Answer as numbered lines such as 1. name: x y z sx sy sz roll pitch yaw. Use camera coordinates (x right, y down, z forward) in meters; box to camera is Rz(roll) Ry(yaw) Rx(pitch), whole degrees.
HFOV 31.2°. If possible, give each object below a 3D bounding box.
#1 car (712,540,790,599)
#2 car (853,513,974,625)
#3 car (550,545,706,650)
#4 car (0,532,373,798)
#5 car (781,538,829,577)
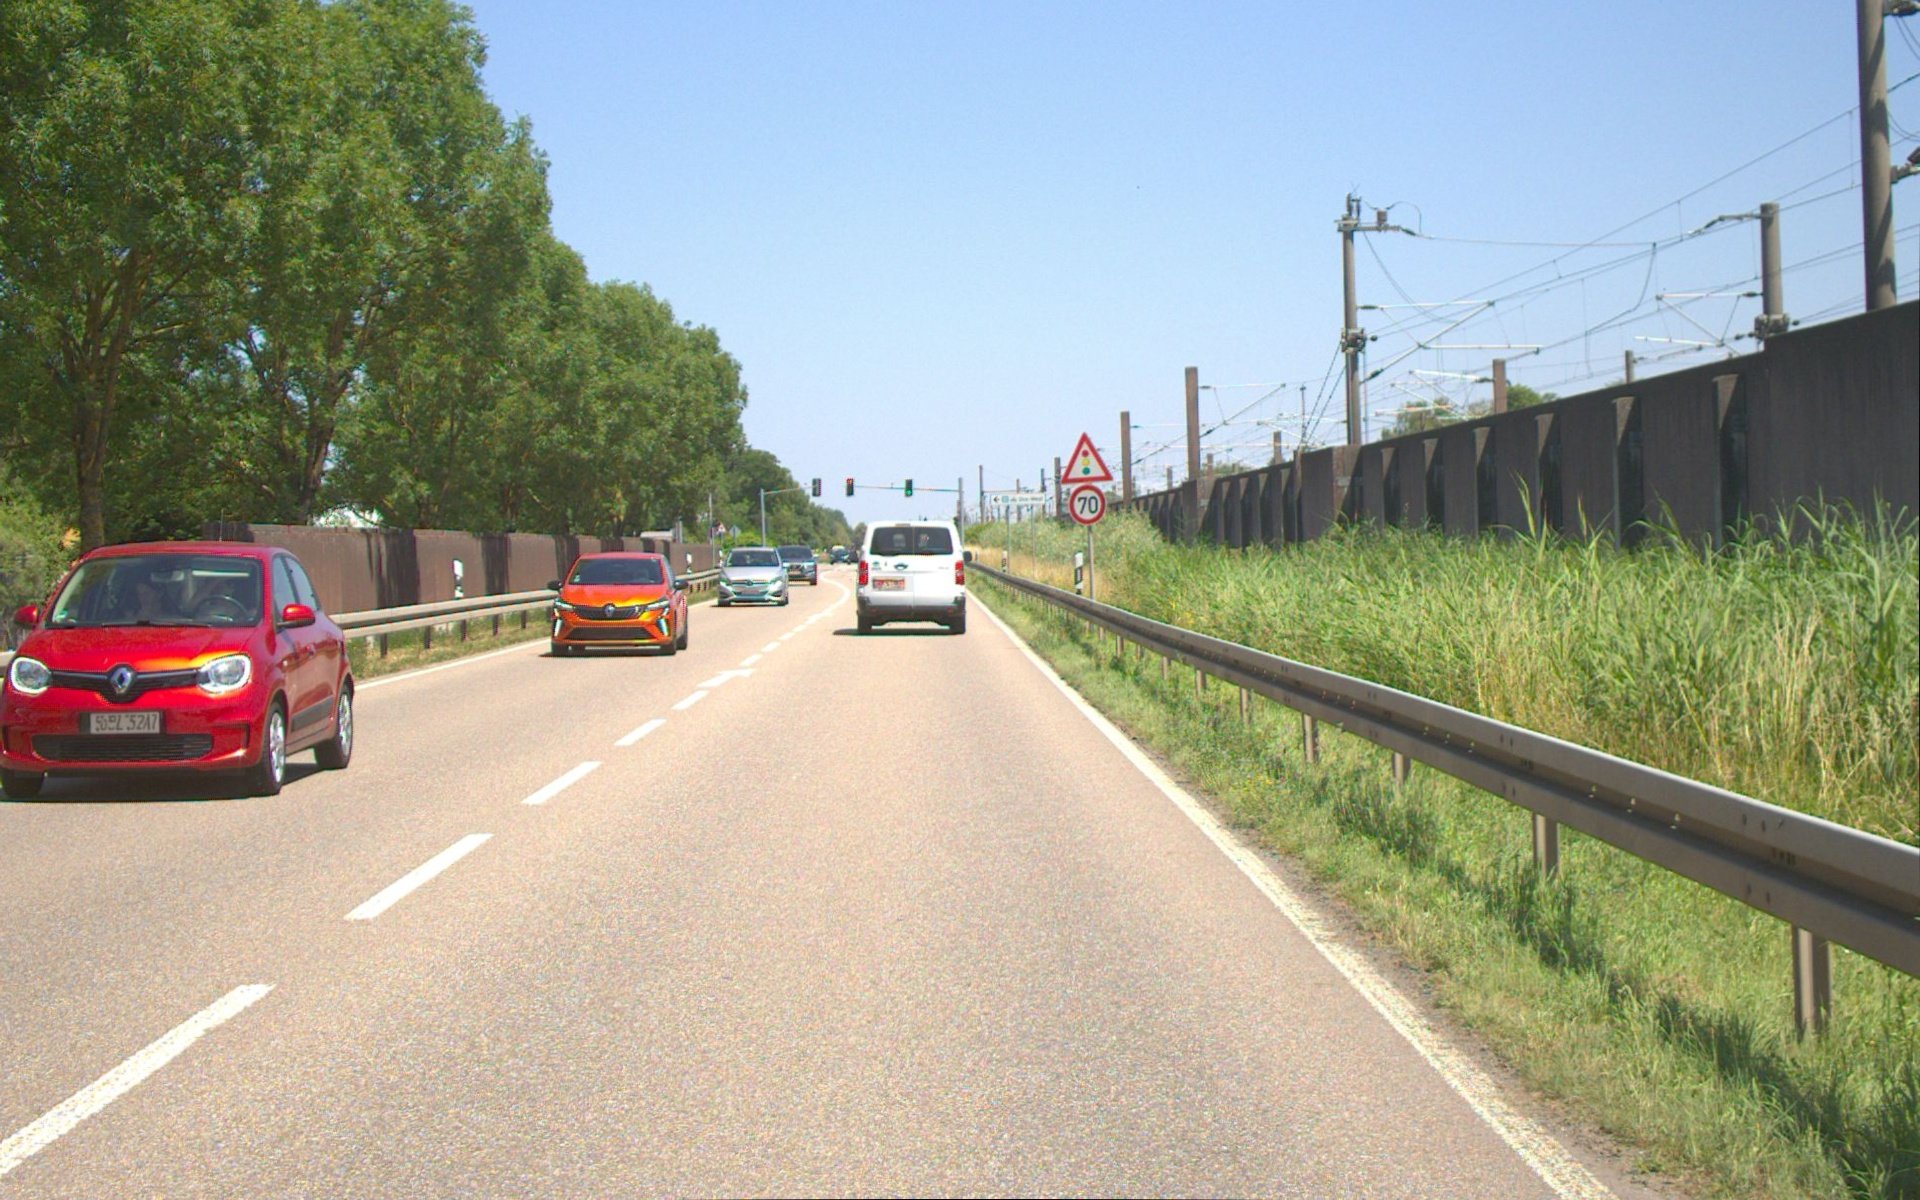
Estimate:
1. car: -5.483 -0.828 90.611 1.789 1.520 4.390 0 1 0
2. car: -0.788 -0.554 59.289 1.993 1.843 4.000 1 1 -1
3. car: -4.684 -0.070 48.967 1.789 1.417 4.000 0 1 1
4. car: -4.907 0.343 22.077 1.652 1.546 4.000 0 1 -1
5. car: -6.111 -1.694 135.982 1.789 1.520 4.390 0 1 -1
